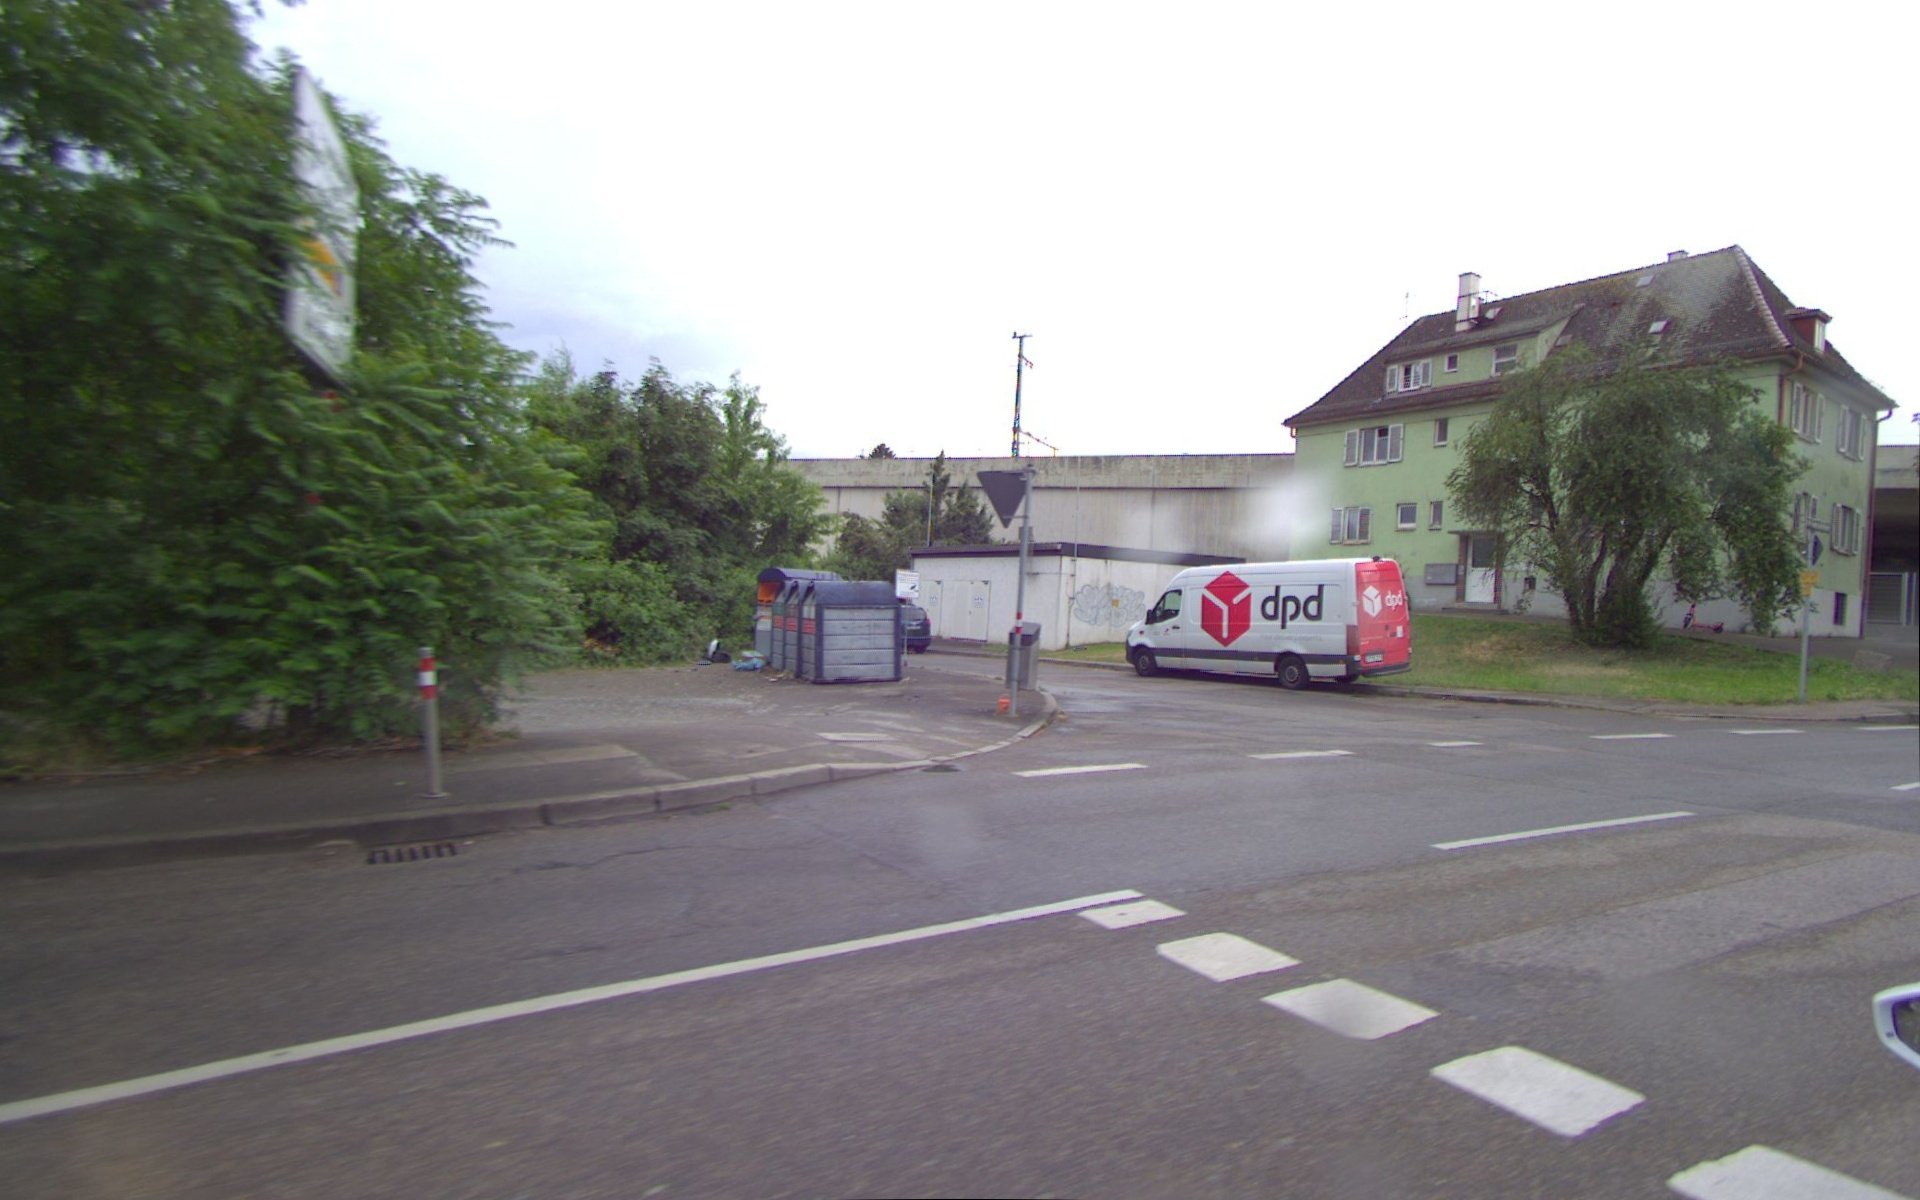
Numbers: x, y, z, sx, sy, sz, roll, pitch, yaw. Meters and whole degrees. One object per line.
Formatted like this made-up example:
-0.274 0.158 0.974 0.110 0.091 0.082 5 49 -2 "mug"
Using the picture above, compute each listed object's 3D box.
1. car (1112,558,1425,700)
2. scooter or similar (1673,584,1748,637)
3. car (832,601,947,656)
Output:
6.550 0.513 22.458 2.239 2.691 6.760 2 0 -33 "car"
20.408 0.276 27.362 0.522 1.291 1.518 2 4 -18 "scooter or similar"
-2.492 0.949 34.483 1.981 1.651 4.209 2 0 -36 "car"
